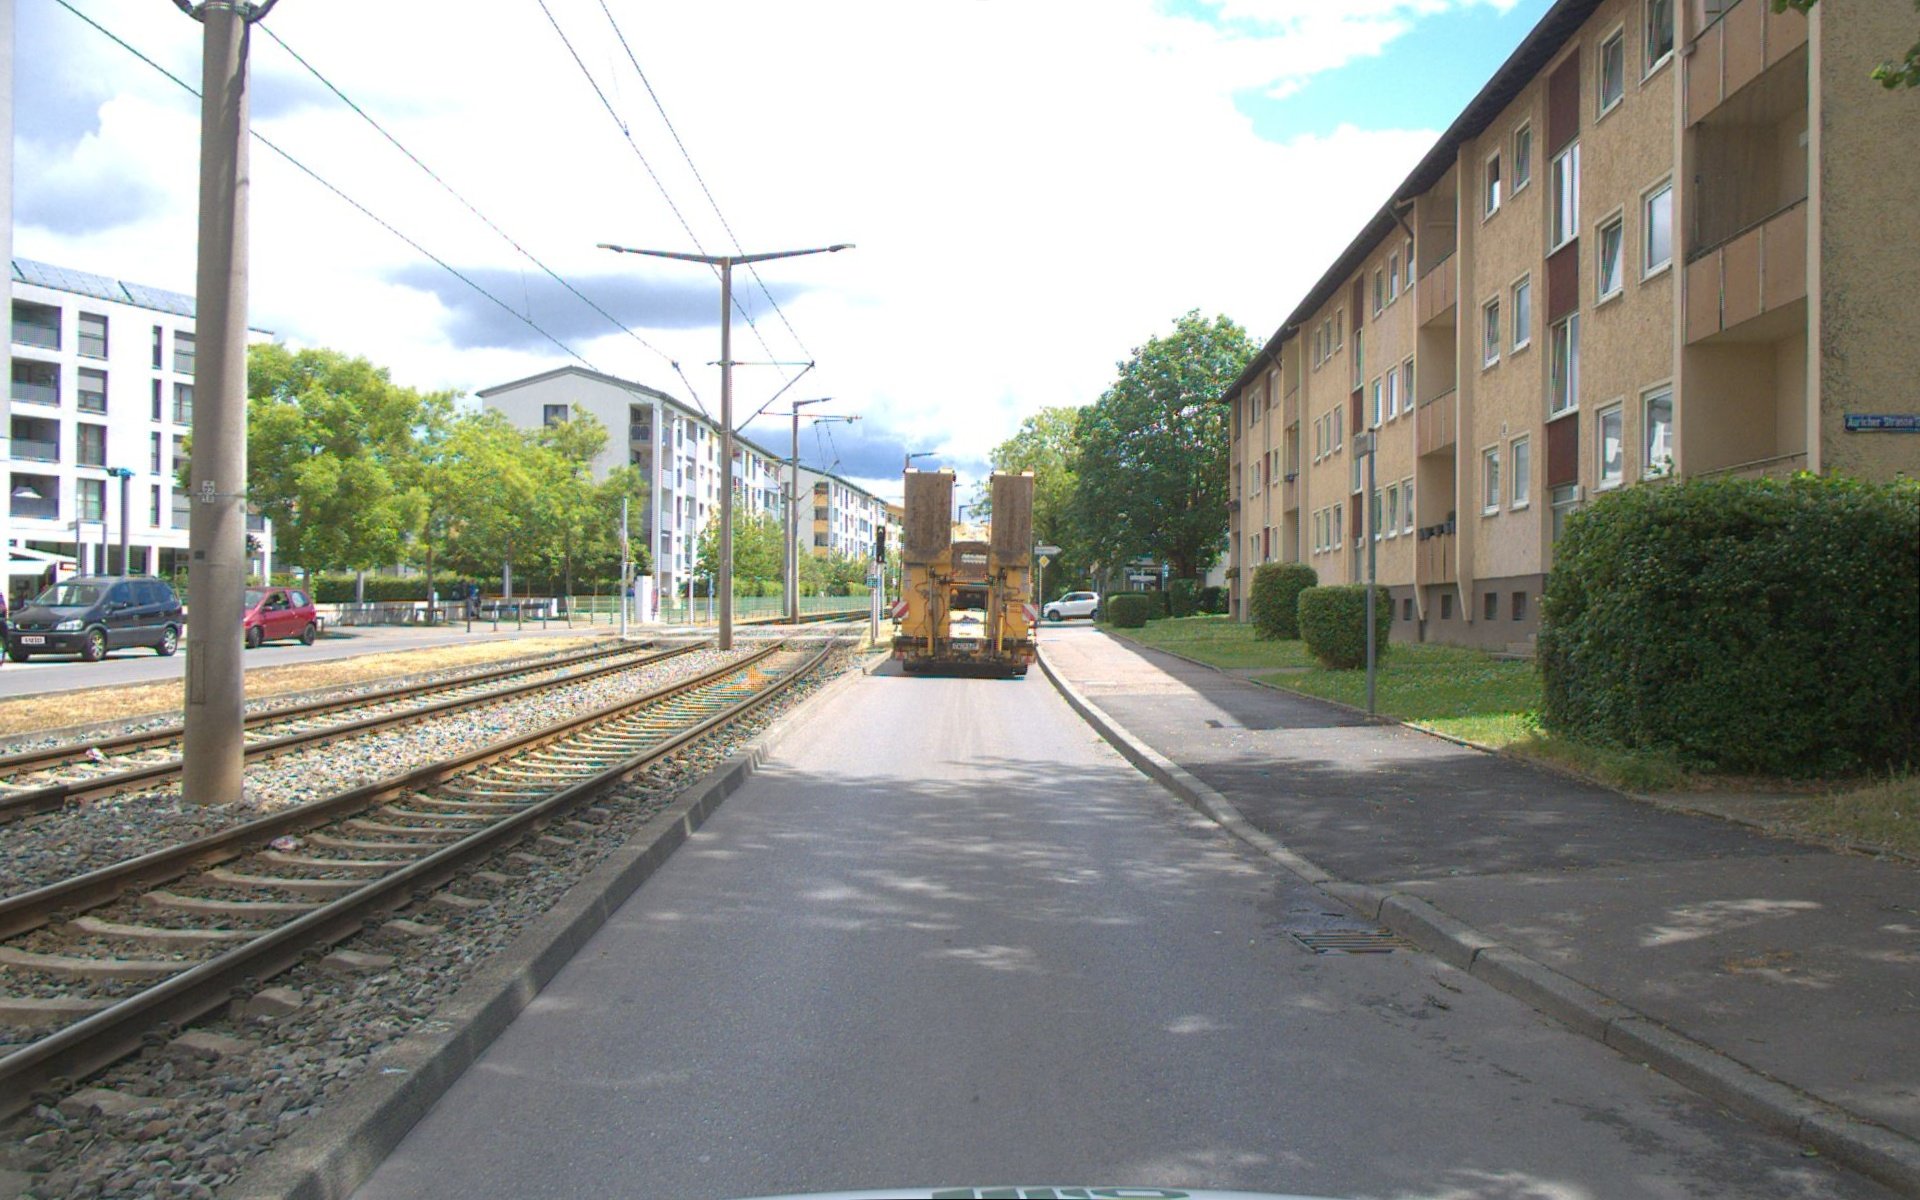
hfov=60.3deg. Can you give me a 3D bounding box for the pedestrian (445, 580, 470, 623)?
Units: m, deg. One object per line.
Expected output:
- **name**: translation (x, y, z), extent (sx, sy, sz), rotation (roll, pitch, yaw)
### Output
- **pedestrian**: translation (-19.256, 0.055, 63.366), extent (0.609, 1.600, 0.698), rotation (-1, 1, 13)

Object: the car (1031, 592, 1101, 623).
- **car**: translation (5.801, 0.409, 90.404), extent (3.521, 1.612, 2.002), rotation (-1, -1, 14)

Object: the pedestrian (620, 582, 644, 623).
- **pedestrian**: translation (-13.763, 0.086, 69.477), extent (0.733, 1.690, 0.870), rotation (-1, 1, 5)

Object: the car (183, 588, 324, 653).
- **car**: translation (-17.044, 0.458, 40.043), extent (1.579, 1.451, 3.426), rotation (-1, 1, 8)

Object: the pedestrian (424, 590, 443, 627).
- **pedestrian**: translation (-22.804, 0.358, 71.614), extent (0.533, 1.574, 0.528), rotation (-1, 1, 22)

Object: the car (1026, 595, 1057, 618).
- **car**: translation (5.364, 0.400, 109.352), extent (1.952, 1.411, 4.001), rotation (-1, 1, 1)

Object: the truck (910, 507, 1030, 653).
- **truck**: translation (0.182, -0.535, 42.933), extent (2.776, 3.388, 7.983), rotation (-1, 1, -1)

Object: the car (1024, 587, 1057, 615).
- **car**: translation (5.090, 0.059, 104.511), extent (1.952, 1.646, 4.001), rotation (-1, 1, 1)

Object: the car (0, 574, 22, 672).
- **car**: translation (-17.572, 0.405, 27.222), extent (1.953, 1.691, 4.099), rotation (1, 1, -1)

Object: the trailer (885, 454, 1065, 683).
- **trailer**: translation (0.183, -0.628, 33.771), extent (2.988, 3.838, 11.611), rotation (-1, 1, -1)

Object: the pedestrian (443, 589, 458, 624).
- **pedestrian**: translation (-19.121, 0.237, 62.084), extent (0.492, 1.289, 0.497), rotation (-1, 1, -22)

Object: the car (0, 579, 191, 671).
- **car**: translation (-17.419, 0.446, 33.046), extent (1.951, 1.676, 4.102), rotation (-1, 1, 4)

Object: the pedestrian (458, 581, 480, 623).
- **pedestrian**: translation (-19.050, 0.070, 64.199), extent (0.609, 1.600, 0.558), rotation (-1, 1, 13)

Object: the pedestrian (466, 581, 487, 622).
- **pedestrian**: translation (-18.947, 0.055, 64.842), extent (0.609, 1.600, 0.558), rotation (-1, 1, 7)
